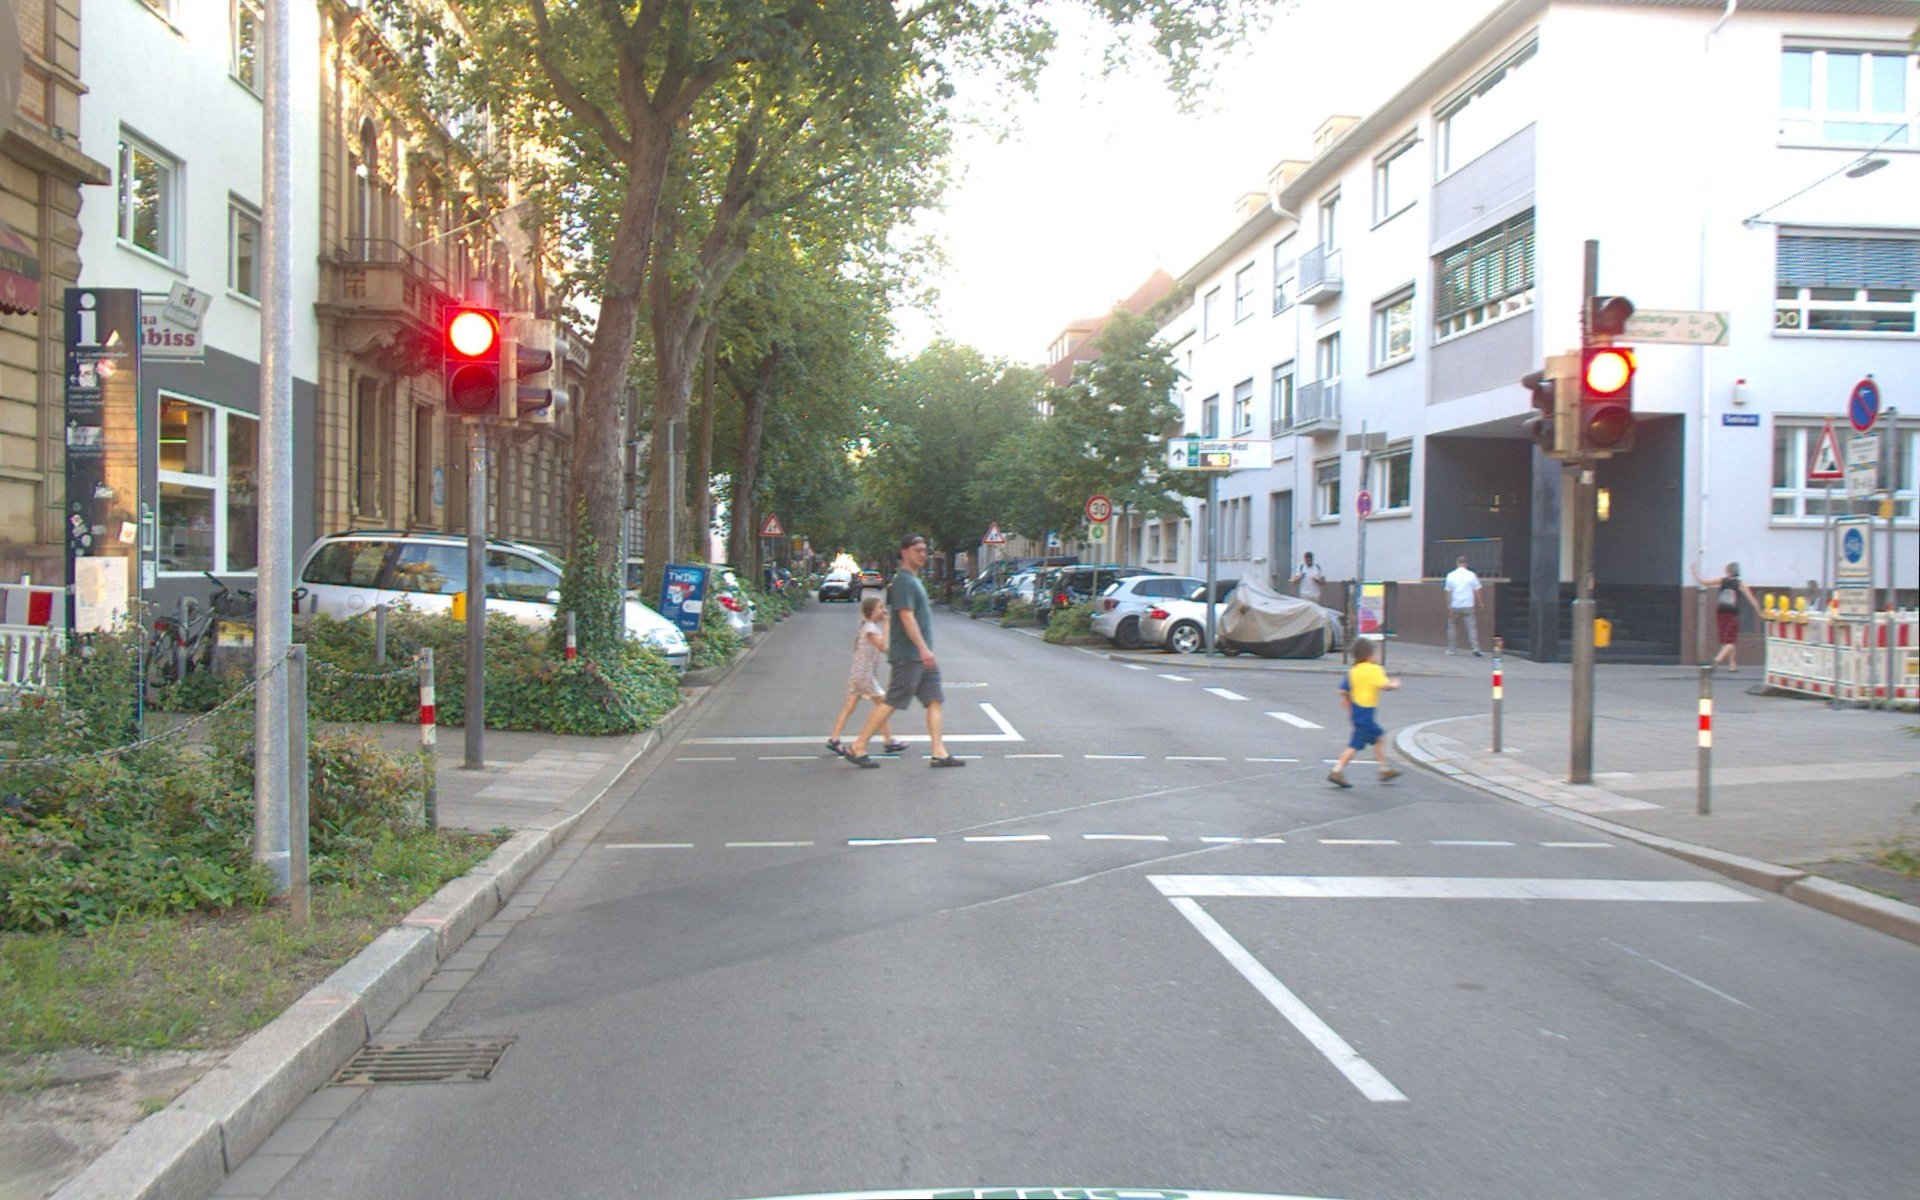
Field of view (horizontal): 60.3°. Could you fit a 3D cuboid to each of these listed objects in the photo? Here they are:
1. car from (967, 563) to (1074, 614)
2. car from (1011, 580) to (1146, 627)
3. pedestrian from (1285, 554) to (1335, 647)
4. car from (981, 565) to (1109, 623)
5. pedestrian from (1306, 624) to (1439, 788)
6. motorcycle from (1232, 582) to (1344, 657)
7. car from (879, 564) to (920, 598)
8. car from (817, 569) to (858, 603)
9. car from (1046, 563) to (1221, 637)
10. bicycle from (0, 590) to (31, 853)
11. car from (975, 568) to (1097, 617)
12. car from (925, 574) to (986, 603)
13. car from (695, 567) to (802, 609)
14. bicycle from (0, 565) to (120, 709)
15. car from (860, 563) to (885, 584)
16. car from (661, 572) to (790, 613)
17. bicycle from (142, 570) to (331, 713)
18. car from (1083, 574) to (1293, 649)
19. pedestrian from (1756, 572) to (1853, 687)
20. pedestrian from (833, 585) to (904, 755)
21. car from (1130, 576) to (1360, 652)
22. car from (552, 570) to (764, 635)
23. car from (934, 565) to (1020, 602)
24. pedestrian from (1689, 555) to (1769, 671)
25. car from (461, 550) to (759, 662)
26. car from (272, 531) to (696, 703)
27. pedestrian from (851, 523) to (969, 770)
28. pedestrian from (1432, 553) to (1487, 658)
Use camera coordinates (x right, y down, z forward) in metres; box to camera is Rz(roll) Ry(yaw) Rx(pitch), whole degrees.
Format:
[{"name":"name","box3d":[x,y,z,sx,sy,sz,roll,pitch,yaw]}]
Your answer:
[{"name":"car","box3d":[2.286,-0.449,63.370,3.935,1.862,1.705,1,1,-5]},{"name":"car","box3d":[3.624,0.093,50.974,3.935,1.434,1.705,0,1,-5]},{"name":"pedestrian","box3d":[7.226,0.004,34.151,0.752,1.873,0.943,1,1,-4]},{"name":"car","box3d":[2.702,-0.203,53.241,3.935,1.847,1.705,0,1,-5]},{"name":"pedestrian","box3d":[3.029,0.768,12.195,0.817,1.140,0.567,1,1,1]},{"name":"motorcycle","box3d":[5.447,0.320,27.548,1.762,1.220,0.613,0,1,5]},{"name":"car","box3d":[-2.979,-0.935,80.750,1.790,1.588,4.024,2,1,-5]},{"name":"car","box3d":[-6.210,-0.733,83.433,1.867,1.605,3.986,2,1,-6]},{"name":"car","box3d":[4.107,-0.012,39.591,3.935,1.720,1.705,0,1,-5]},{"name":"bicycle","box3d":[-4.476,0.561,6.565,0.500,1.173,2.100,2,1,-4]},{"name":"car","box3d":[2.553,-0.259,56.027,3.935,1.556,1.705,1,1,-5]},{"name":"car","box3d":[-0.307,-0.750,110.964,3.935,1.862,1.705,1,1,-5]},{"name":"car","box3d":[-9.112,-0.528,71.515,4.458,1.721,1.832,1,1,-4]},{"name":"bicycle","box3d":[-8.482,0.299,14.898,0.624,1.222,2.563,0,1,-3]},{"name":"car","box3d":[-7.152,-2.141,135.060,1.886,1.689,3.997,0,1,-4]},{"name":"car","box3d":[-8.378,-0.272,59.346,4.458,1.434,1.832,0,1,-4]},{"name":"bicycle","box3d":[-6.723,0.335,15.548,0.720,1.207,2.633,2,1,-3]},{"name":"car","box3d":[4.543,0.207,33.327,3.935,1.467,1.705,0,1,-5]},{"name":"pedestrian","box3d":[11.899,0.408,23.319,0.957,1.584,0.701,1,1,-4]},{"name":"pedestrian","box3d":[-0.746,0.566,13.616,0.528,1.359,0.506,1,1,1]},{"name":"car","box3d":[5.252,0.245,30.746,3.935,1.366,1.706,0,1,-4]},{"name":"car","box3d":[-6.664,0.045,36.916,4.458,1.396,1.832,0,1,-4]},{"name":"car","box3d":[0.784,-0.786,78.276,3.935,1.629,1.705,1,1,-5]},{"name":"pedestrian","box3d":[12.147,0.197,26.135,0.753,1.782,0.933,1,1,-4]},{"name":"car","box3d":[-5.553,0.083,26.690,4.458,1.718,1.832,0,1,-4]},{"name":"car","box3d":[-5.359,0.177,19.138,4.461,1.867,1.830,0,1,-7]},{"name":"pedestrian","box3d":[-0.374,0.339,12.797,0.870,1.847,0.794,0,1,0]},{"name":"pedestrian","box3d":[8.615,0.090,28.537,0.689,1.782,0.699,1,1,0]}]
